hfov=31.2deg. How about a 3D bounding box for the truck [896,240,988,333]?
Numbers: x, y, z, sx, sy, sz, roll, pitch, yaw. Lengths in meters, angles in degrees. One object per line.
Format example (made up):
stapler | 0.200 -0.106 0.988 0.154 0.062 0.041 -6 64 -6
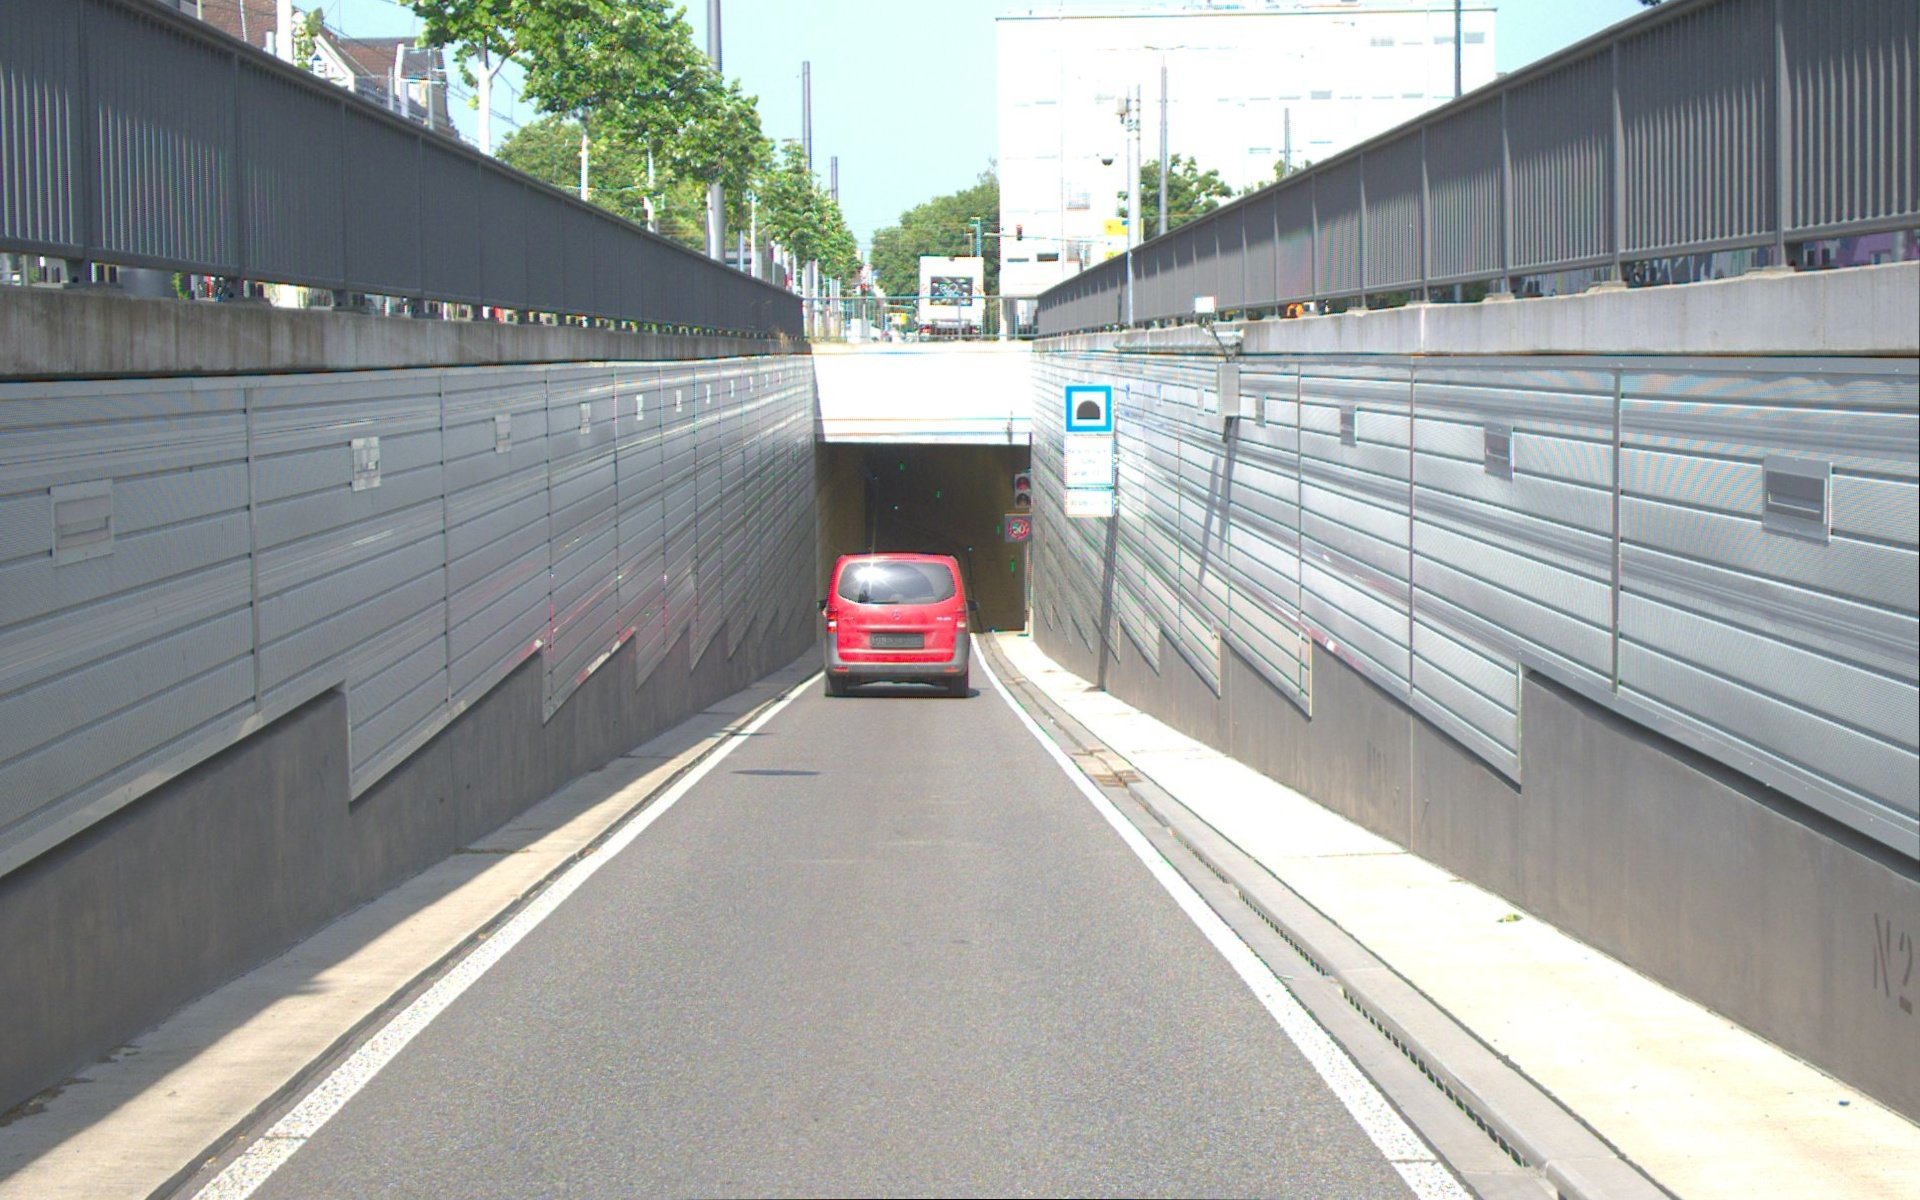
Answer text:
truck | -0.831 -13.260 146.274 3.390 3.712 10.455 -1 4 -3

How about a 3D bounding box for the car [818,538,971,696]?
car | -0.861 0.175 45.506 1.901 1.853 4.001 1 3 -1
